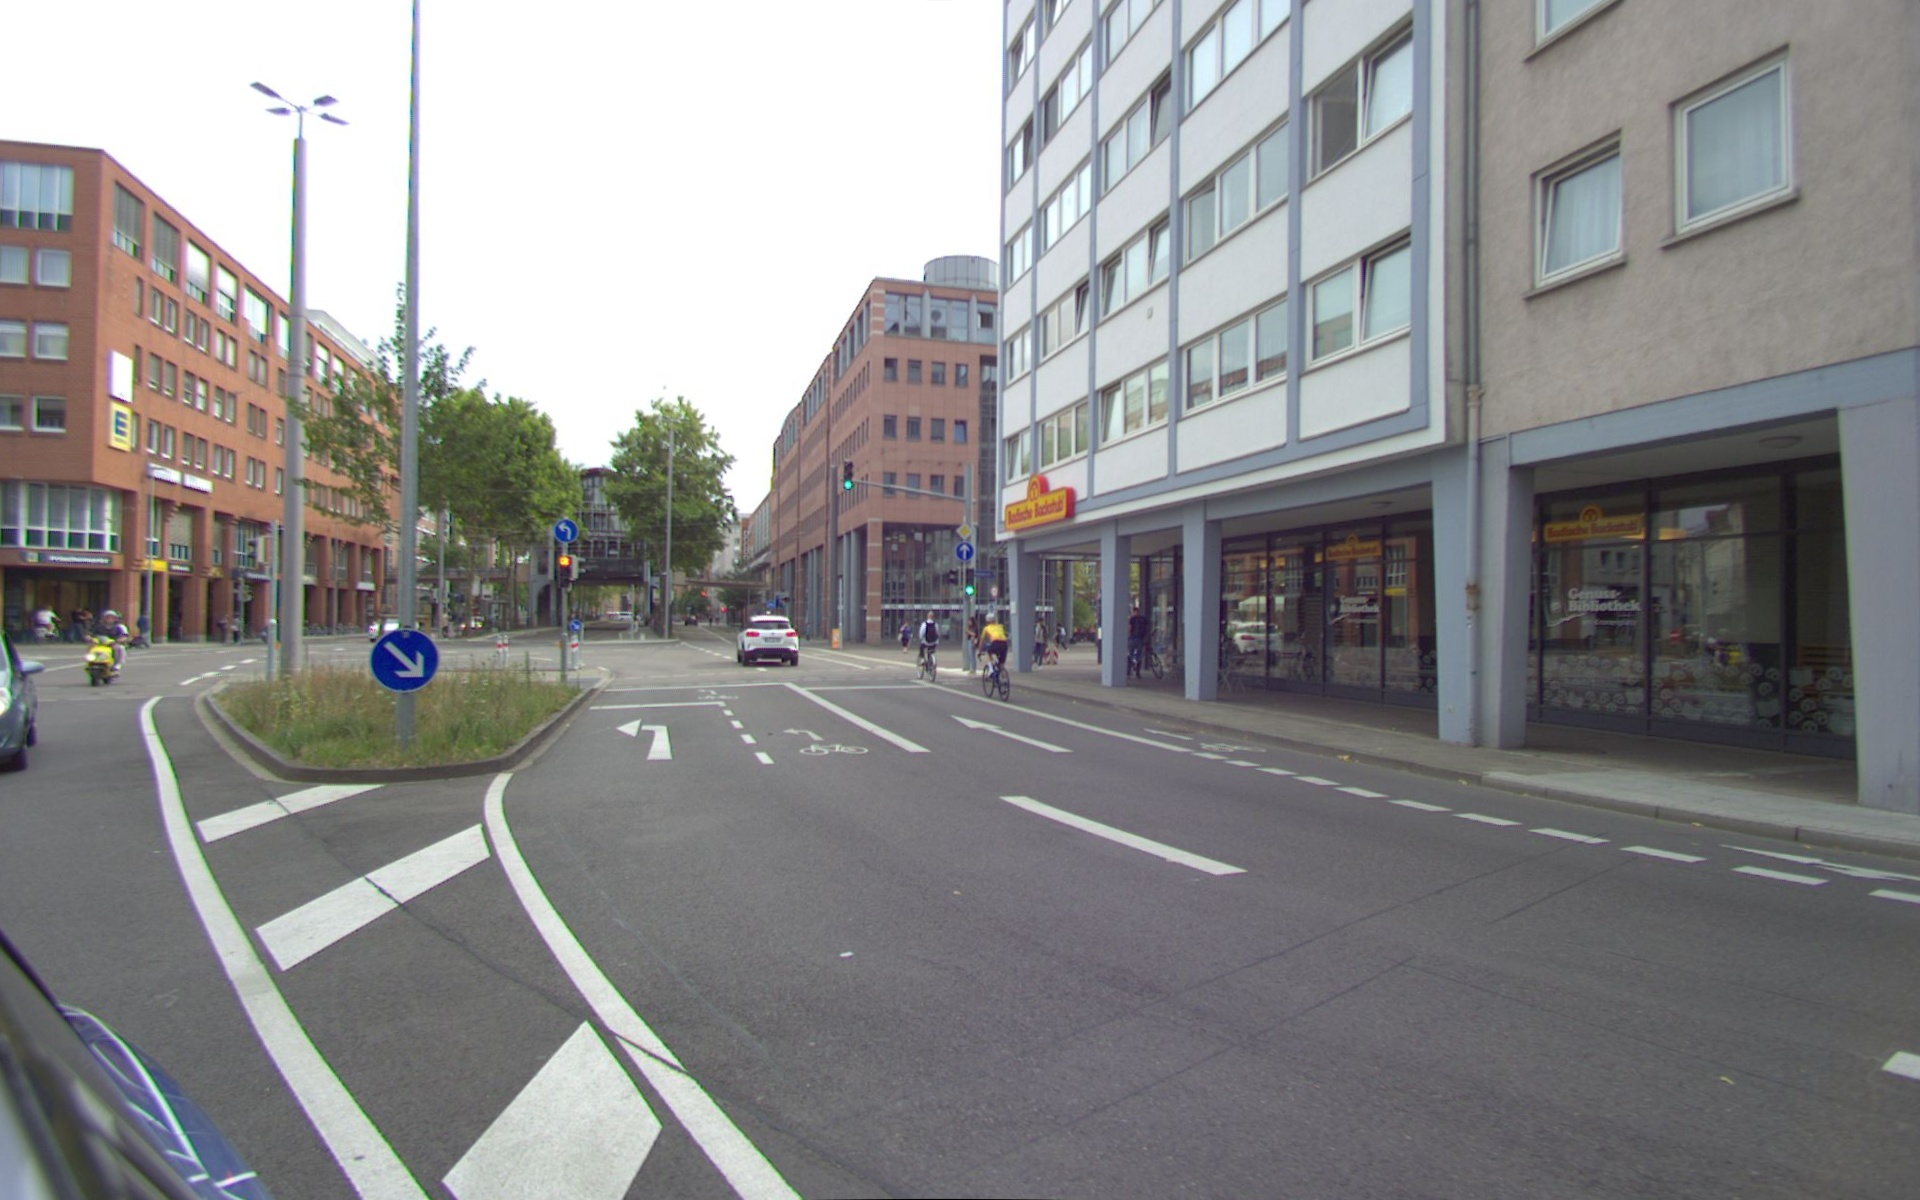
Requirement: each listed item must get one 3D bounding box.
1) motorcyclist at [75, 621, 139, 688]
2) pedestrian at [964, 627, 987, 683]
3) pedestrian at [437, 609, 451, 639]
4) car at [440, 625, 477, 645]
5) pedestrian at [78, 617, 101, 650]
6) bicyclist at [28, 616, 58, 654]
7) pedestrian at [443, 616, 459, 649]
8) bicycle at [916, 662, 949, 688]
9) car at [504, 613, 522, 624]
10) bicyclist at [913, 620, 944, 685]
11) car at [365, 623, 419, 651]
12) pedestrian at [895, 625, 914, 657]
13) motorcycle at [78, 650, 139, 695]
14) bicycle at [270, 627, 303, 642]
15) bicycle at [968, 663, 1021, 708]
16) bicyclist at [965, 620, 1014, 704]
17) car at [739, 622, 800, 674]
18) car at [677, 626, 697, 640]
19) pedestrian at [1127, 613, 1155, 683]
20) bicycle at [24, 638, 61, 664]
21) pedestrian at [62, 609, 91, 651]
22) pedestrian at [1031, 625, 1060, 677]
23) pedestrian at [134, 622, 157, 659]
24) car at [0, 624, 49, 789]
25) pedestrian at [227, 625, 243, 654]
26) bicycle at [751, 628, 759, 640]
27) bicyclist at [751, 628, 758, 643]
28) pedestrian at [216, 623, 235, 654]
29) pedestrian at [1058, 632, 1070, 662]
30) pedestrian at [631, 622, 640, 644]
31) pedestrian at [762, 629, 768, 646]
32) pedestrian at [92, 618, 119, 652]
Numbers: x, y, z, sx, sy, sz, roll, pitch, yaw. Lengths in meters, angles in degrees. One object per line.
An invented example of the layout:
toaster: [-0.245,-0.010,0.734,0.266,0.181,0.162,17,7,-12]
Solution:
motorcyclist: [-19.822,1.251,23.546,0.857,1.528,1.047,1,-2,-26]
pedestrian: [0.434,1.551,28.678,0.491,1.571,0.520,1,-2,-23]
pedestrian: [-31.549,1.462,61.883,0.529,1.805,0.576,0,-2,4]
car: [-40.469,2.815,81.776,1.925,1.614,4.011,1,-2,-15]
pedestrian: [-43.780,1.678,50.907,0.533,1.664,0.895,1,-2,-16]
bicyclist: [-42.164,1.618,46.551,0.631,1.722,0.865,1,-4,-16]
pedestrian: [-30.049,1.909,59.717,0.682,1.889,0.809,1,-2,-15]
bicycle: [-0.731,1.968,26.640,0.477,0.593,2.003,1,-2,-13]
car: [-69.789,2.860,158.079,1.925,1.613,4.011,1,-1,-15]
bicyclist: [-0.834,1.374,26.618,0.599,1.658,1.040,1,-2,-13]
car: [-34.010,2.221,60.692,1.925,1.613,4.011,1,-1,-15]
pedestrian: [-2.618,1.942,47.742,0.785,1.484,0.686,1,-2,-15]
motorcycle: [-19.793,1.663,23.563,0.561,0.975,2.021,1,-2,-25]
bicycle: [-46.795,2.409,70.369,1.829,1.048,0.509,1,-2,-15]
bicycle: [0.678,1.710,20.606,0.403,0.801,2.004,1,-2,-19]
bicyclist: [0.594,1.253,20.638,0.702,1.662,0.974,1,-2,-17]
car: [-6.632,1.616,34.904,1.807,1.672,4.336,1,-2,-14]
car: [-41.481,4.991,153.807,2.466,1.962,5.109,1,-2,-21]
pedestrian: [4.641,1.224,25.949,0.469,1.779,0.591,1,-2,-16]
bicycle: [-42.187,2.375,46.552,0.385,1.130,2.083,4,-5,-19]
pedestrian: [-43.223,1.464,49.517,0.802,2.029,0.800,-1,-1,-18]
pedestrian: [2.641,1.569,31.345,0.686,1.606,0.653,-1,-2,31]
pedestrian: [-38.287,1.901,47.595,0.630,1.700,0.602,1,-2,-16]
car: [-10.403,1.002,10.110,1.697,1.413,4.007,-1,0,-39]
pedestrian: [-41.979,2.274,58.628,0.401,1.644,0.733,2,-2,-8]
bicycle: [-19.049,3.145,94.014,0.538,1.126,1.594,1,-2,-15]
bicyclist: [-19.023,3.282,93.821,0.543,1.391,0.740,1,-2,-14]
pedestrian: [-41.283,2.146,56.891,0.636,1.709,0.700,2,-2,-18]
pedestrian: [5.501,2.500,53.631,0.498,1.589,0.522,1,-2,-14]
pedestrian: [-23.829,2.418,74.326,0.647,1.549,0.560,1,0,-20]
pedestrian: [-18.084,3.504,93.860,0.520,1.585,0.602,1,-2,-16]
pedestrian: [-44.464,1.801,52.665,0.638,1.727,1.059,1,-1,-16]
